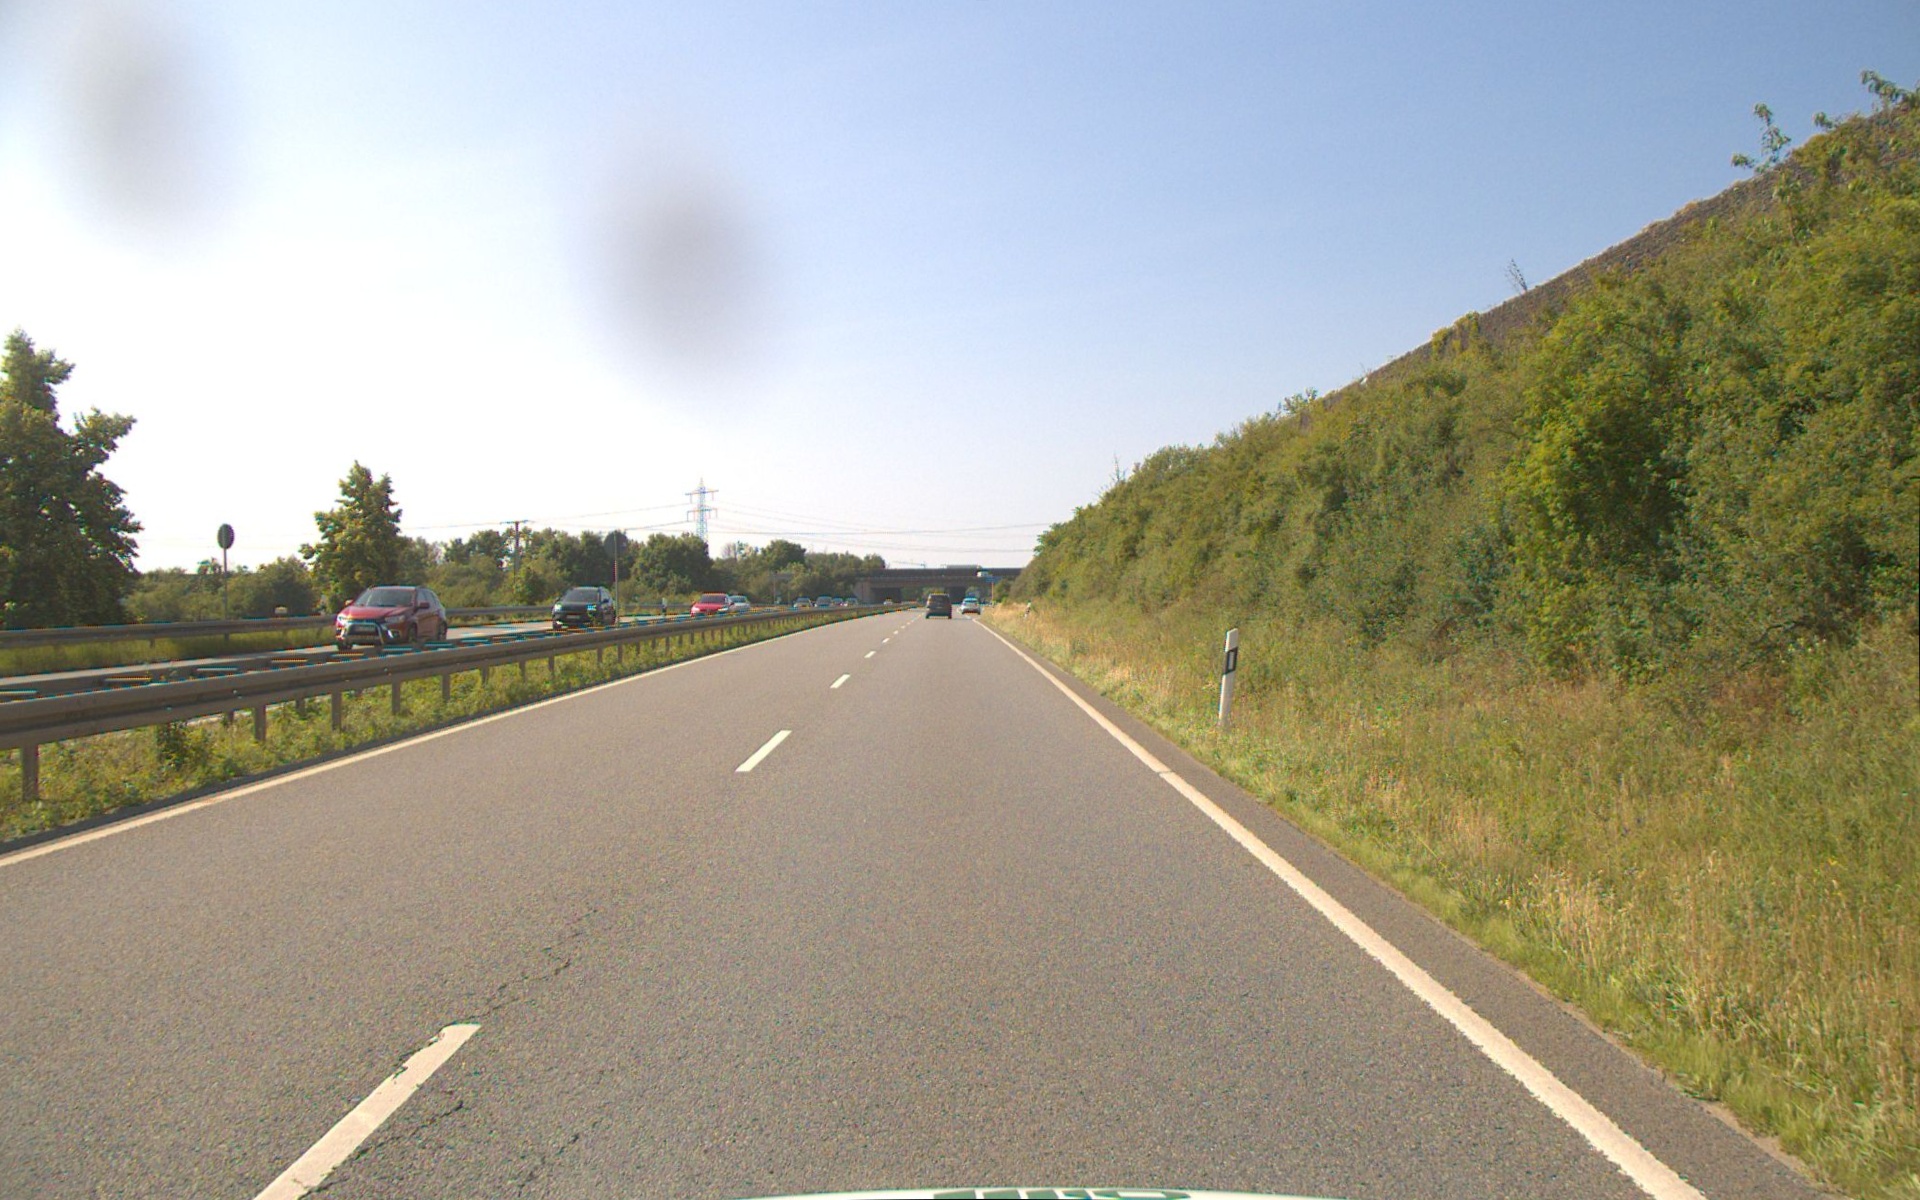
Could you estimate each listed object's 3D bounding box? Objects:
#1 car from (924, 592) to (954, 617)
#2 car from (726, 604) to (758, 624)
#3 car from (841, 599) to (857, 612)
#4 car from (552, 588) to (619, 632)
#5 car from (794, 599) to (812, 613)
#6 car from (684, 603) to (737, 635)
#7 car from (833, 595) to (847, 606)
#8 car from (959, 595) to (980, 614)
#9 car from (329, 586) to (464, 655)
[{"bbox_3d":[-1.395,0.304,111.426,1.811,1.673,4.001,0,0,2],"label":"car"},{"bbox_3d":[-16.128,1.037,122.364,1.784,1.420,4.415,2,0,-1],"label":"car"},{"bbox_3d":[-13.654,0.659,203.861,1.778,1.499,4.323,1,0,-1],"label":"car"},{"bbox_3d":[-14.439,0.381,63.953,1.691,1.623,4.220,0,0,-1],"label":"car"},{"bbox_3d":[-16.694,0.618,176.278,1.678,1.475,4.321,0,0,-2],"label":"car"},{"bbox_3d":[-12.113,0.896,80.491,1.838,1.519,5.094,0,0,-1],"label":"car"},{"bbox_3d":[-17.110,0.033,236.227,1.778,1.499,4.323,1,0,-1],"label":"car"},{"bbox_3d":[0.889,0.425,152.477,1.759,1.694,4.001,2,0,2],"label":"car"},{"bbox_3d":[-14.184,0.488,41.900,1.806,1.621,4.773,1,0,-1],"label":"car"}]
